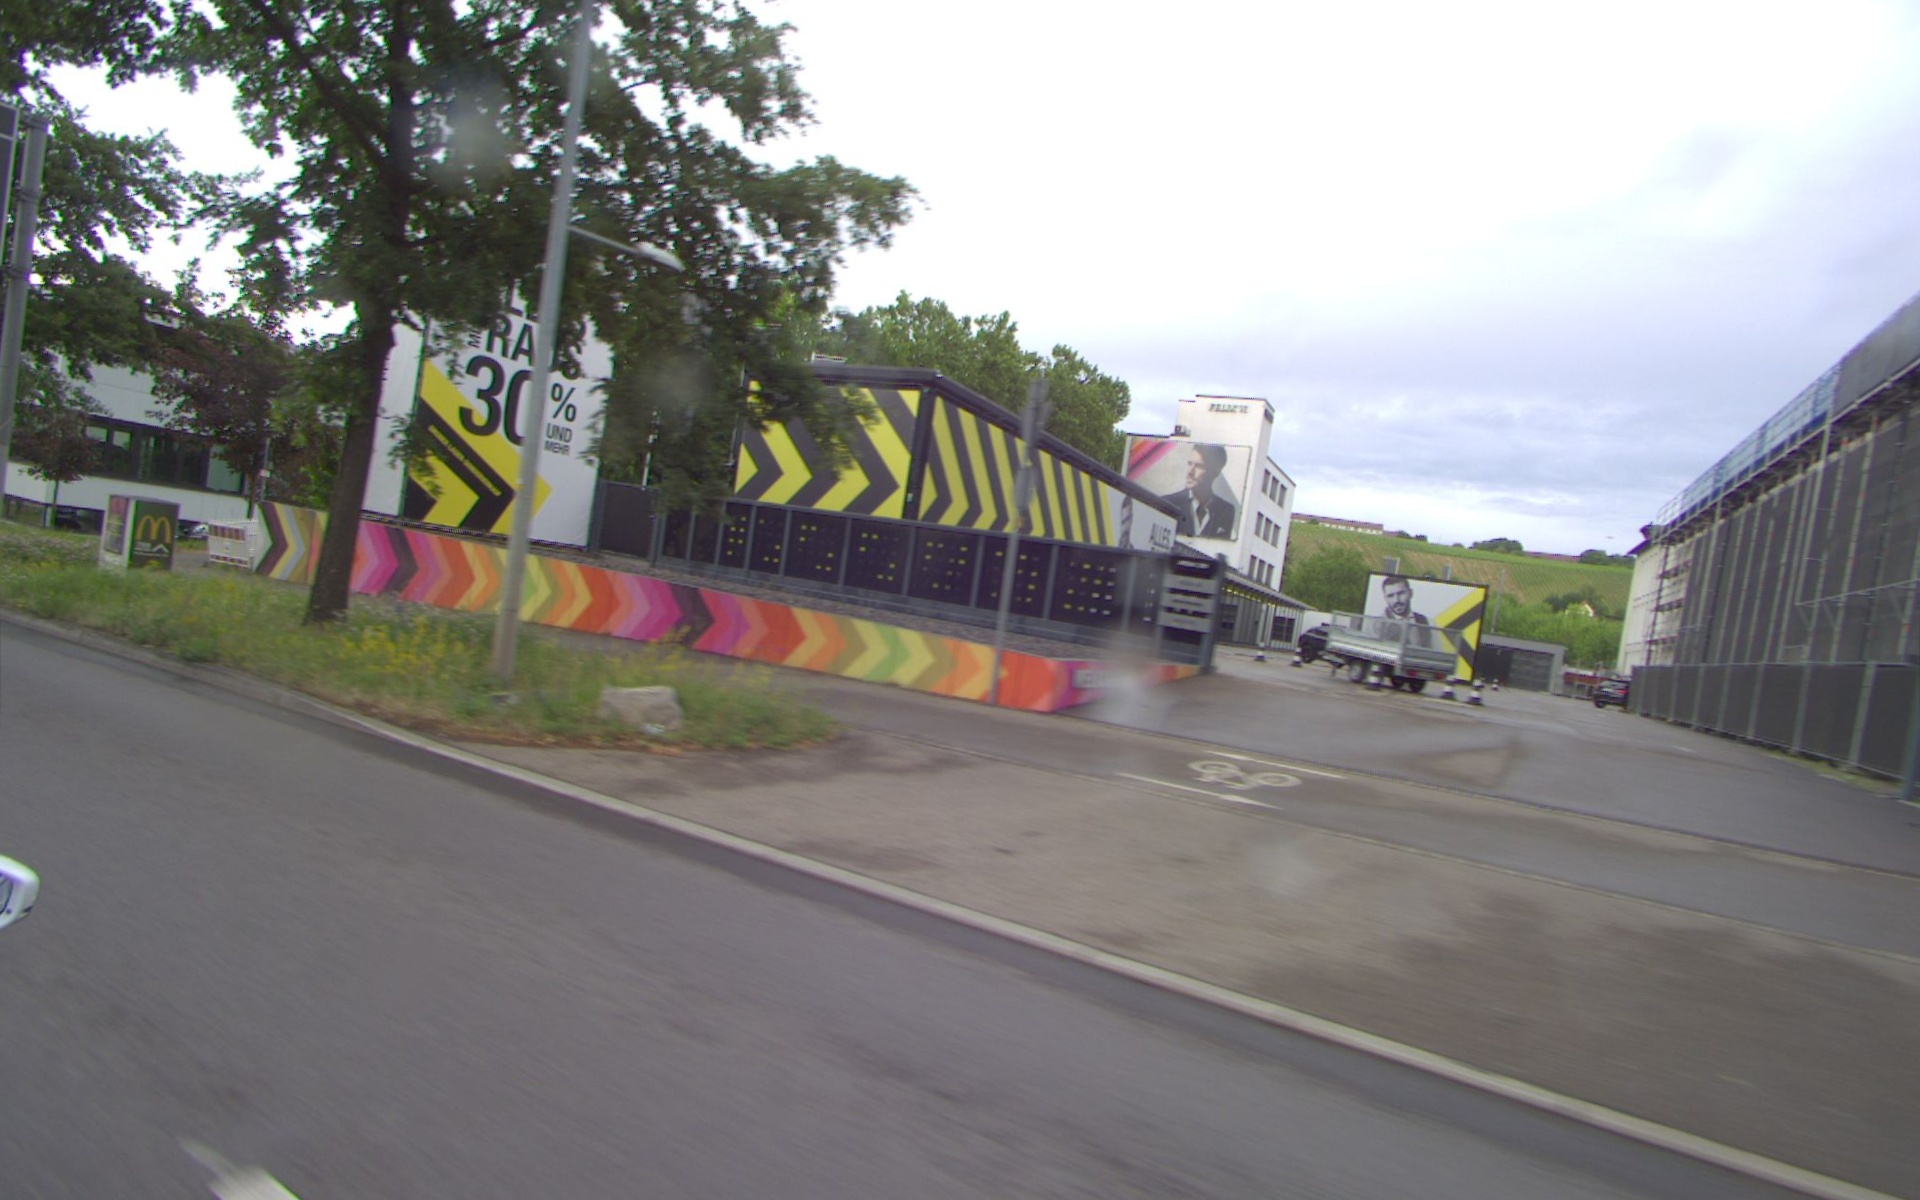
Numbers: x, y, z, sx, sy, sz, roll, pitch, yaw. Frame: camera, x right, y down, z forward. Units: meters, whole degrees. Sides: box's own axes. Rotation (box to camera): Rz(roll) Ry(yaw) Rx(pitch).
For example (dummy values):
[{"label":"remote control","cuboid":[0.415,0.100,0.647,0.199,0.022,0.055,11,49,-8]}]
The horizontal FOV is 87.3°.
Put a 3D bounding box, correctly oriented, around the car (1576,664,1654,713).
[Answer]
[{"label":"car","cuboid":[30.487,4.134,46.786,3.975,1.770,1.977,10,-3,-41]}]
